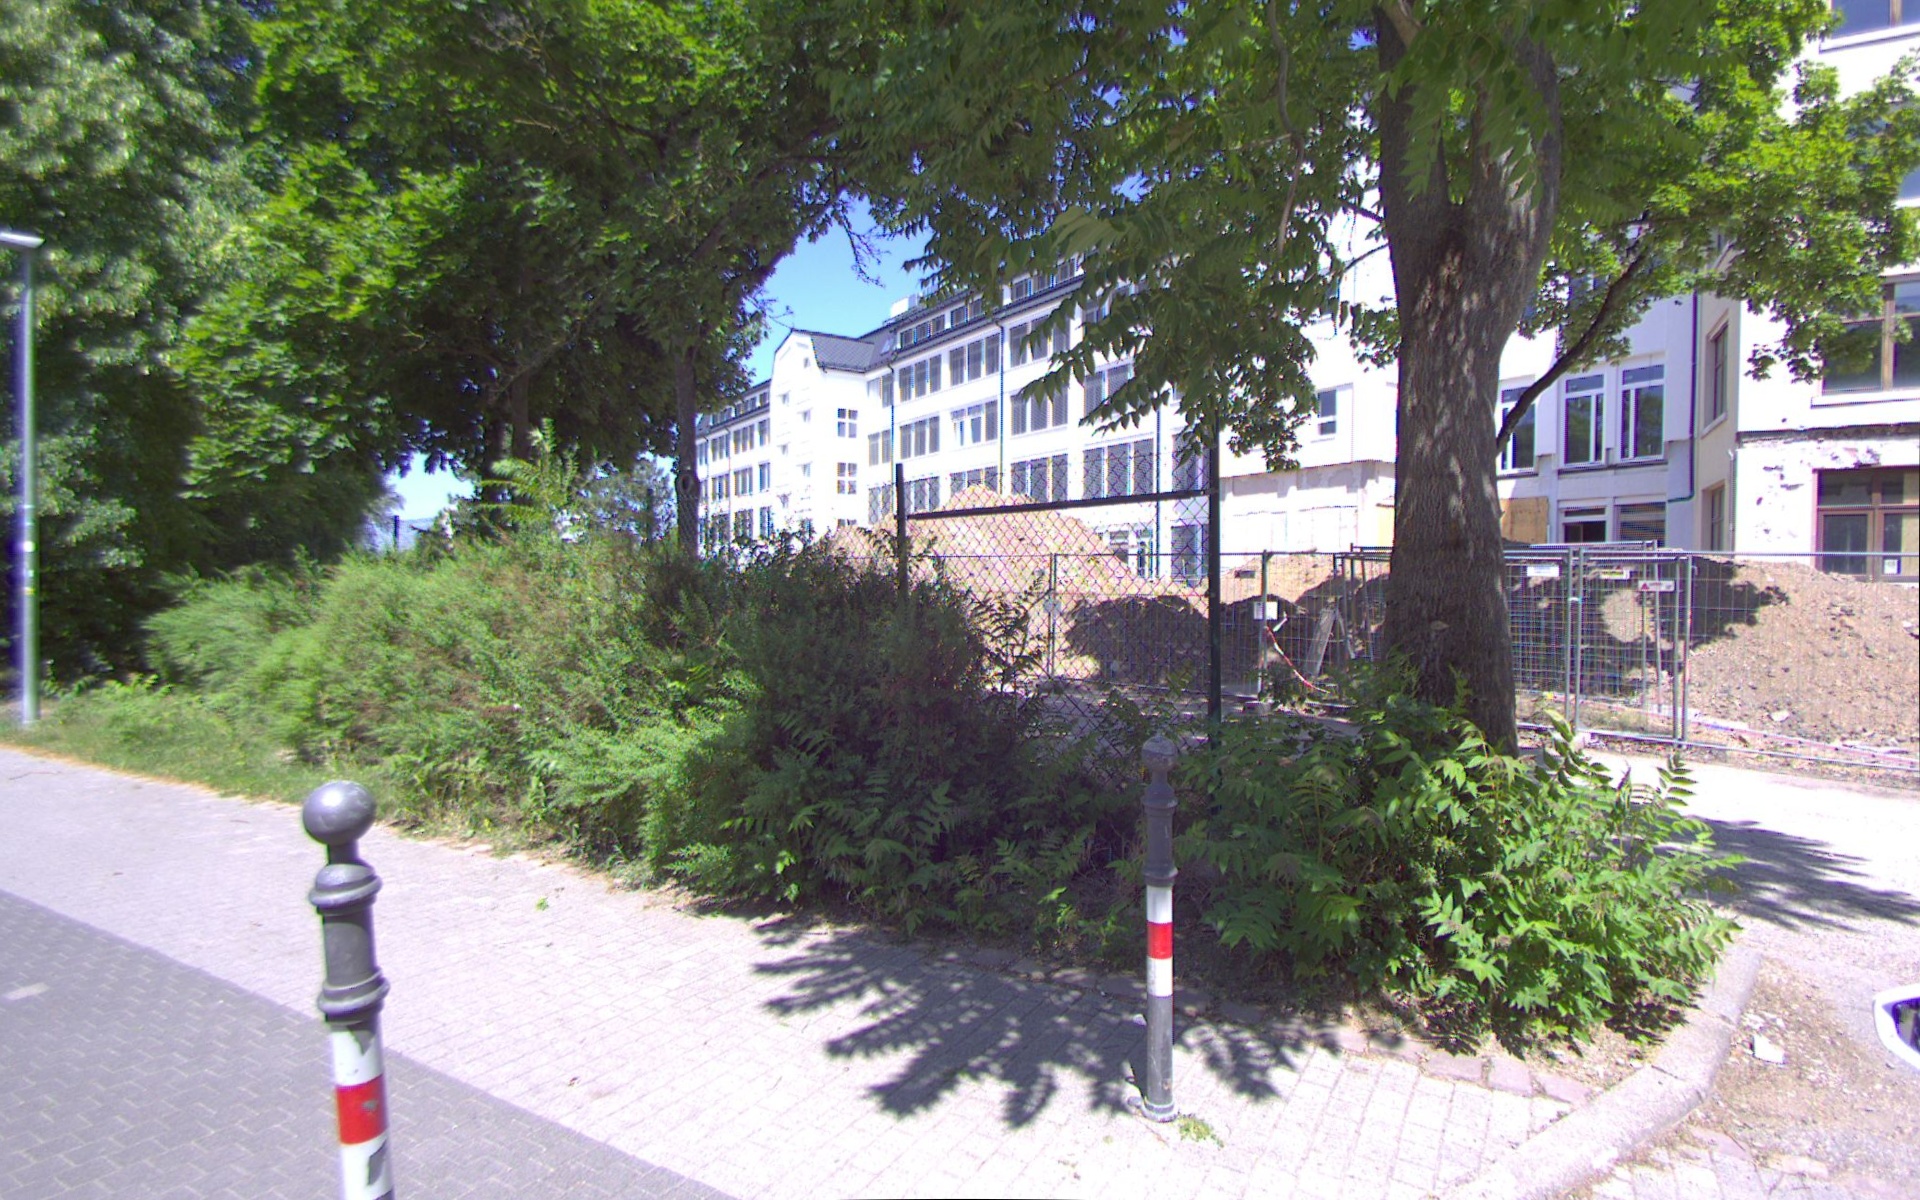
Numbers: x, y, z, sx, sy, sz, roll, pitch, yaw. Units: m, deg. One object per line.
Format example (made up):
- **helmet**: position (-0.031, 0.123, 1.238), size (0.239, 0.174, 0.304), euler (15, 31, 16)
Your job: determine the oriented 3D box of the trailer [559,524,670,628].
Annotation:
- **trailer**: position (-13.281, -0.851, 38.069), size (3.002, 3.467, 8.715), euler (1, 1, -25)
